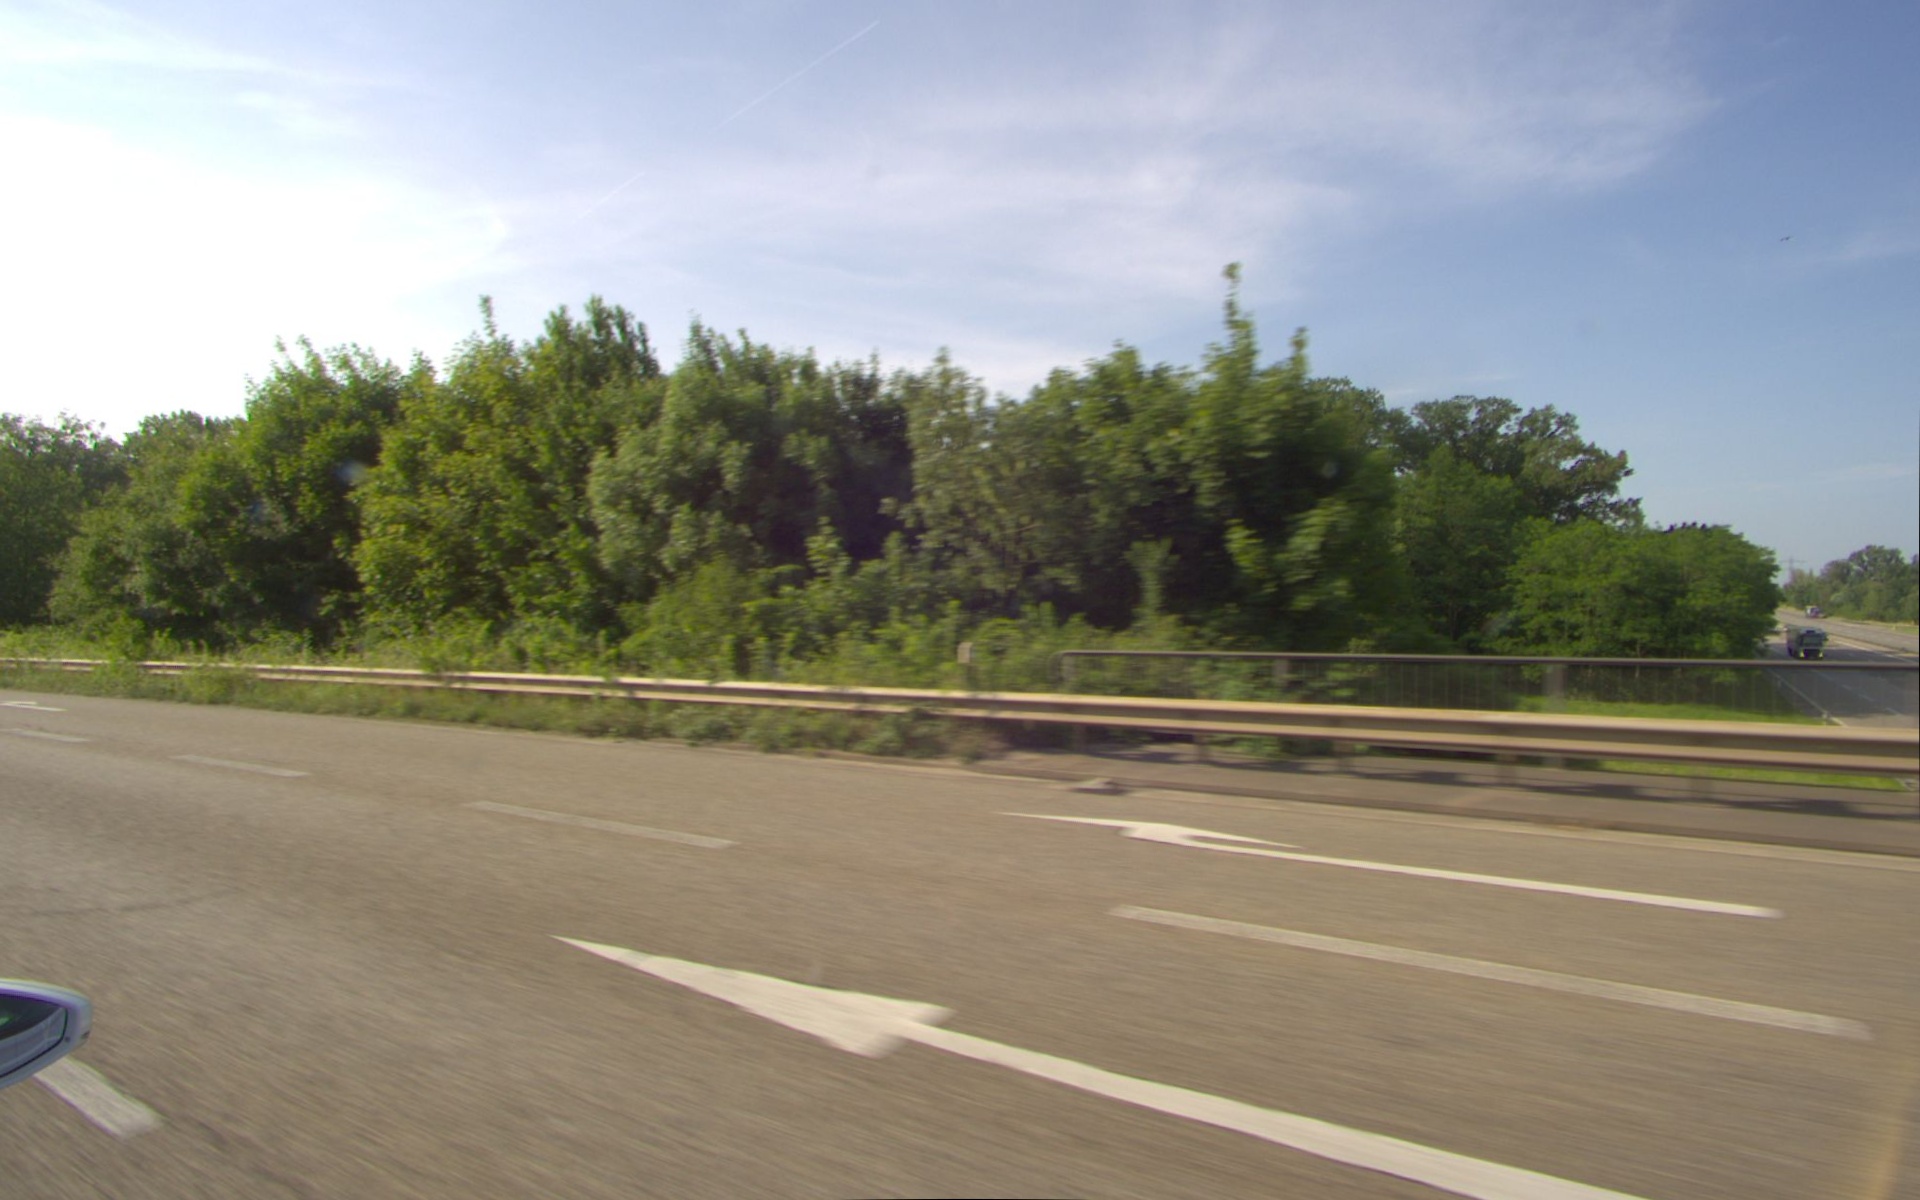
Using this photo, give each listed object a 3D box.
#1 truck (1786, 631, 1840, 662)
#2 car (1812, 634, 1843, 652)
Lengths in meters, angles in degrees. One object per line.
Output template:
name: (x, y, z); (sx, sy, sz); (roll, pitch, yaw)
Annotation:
truck: (112.389, 6.124, 132.153); (3.590, 3.897, 11.689); (-1, -3, 32)
car: (159.554, 7.845, 184.261); (2.982, 3.266, 7.483); (-1, -2, 31)
